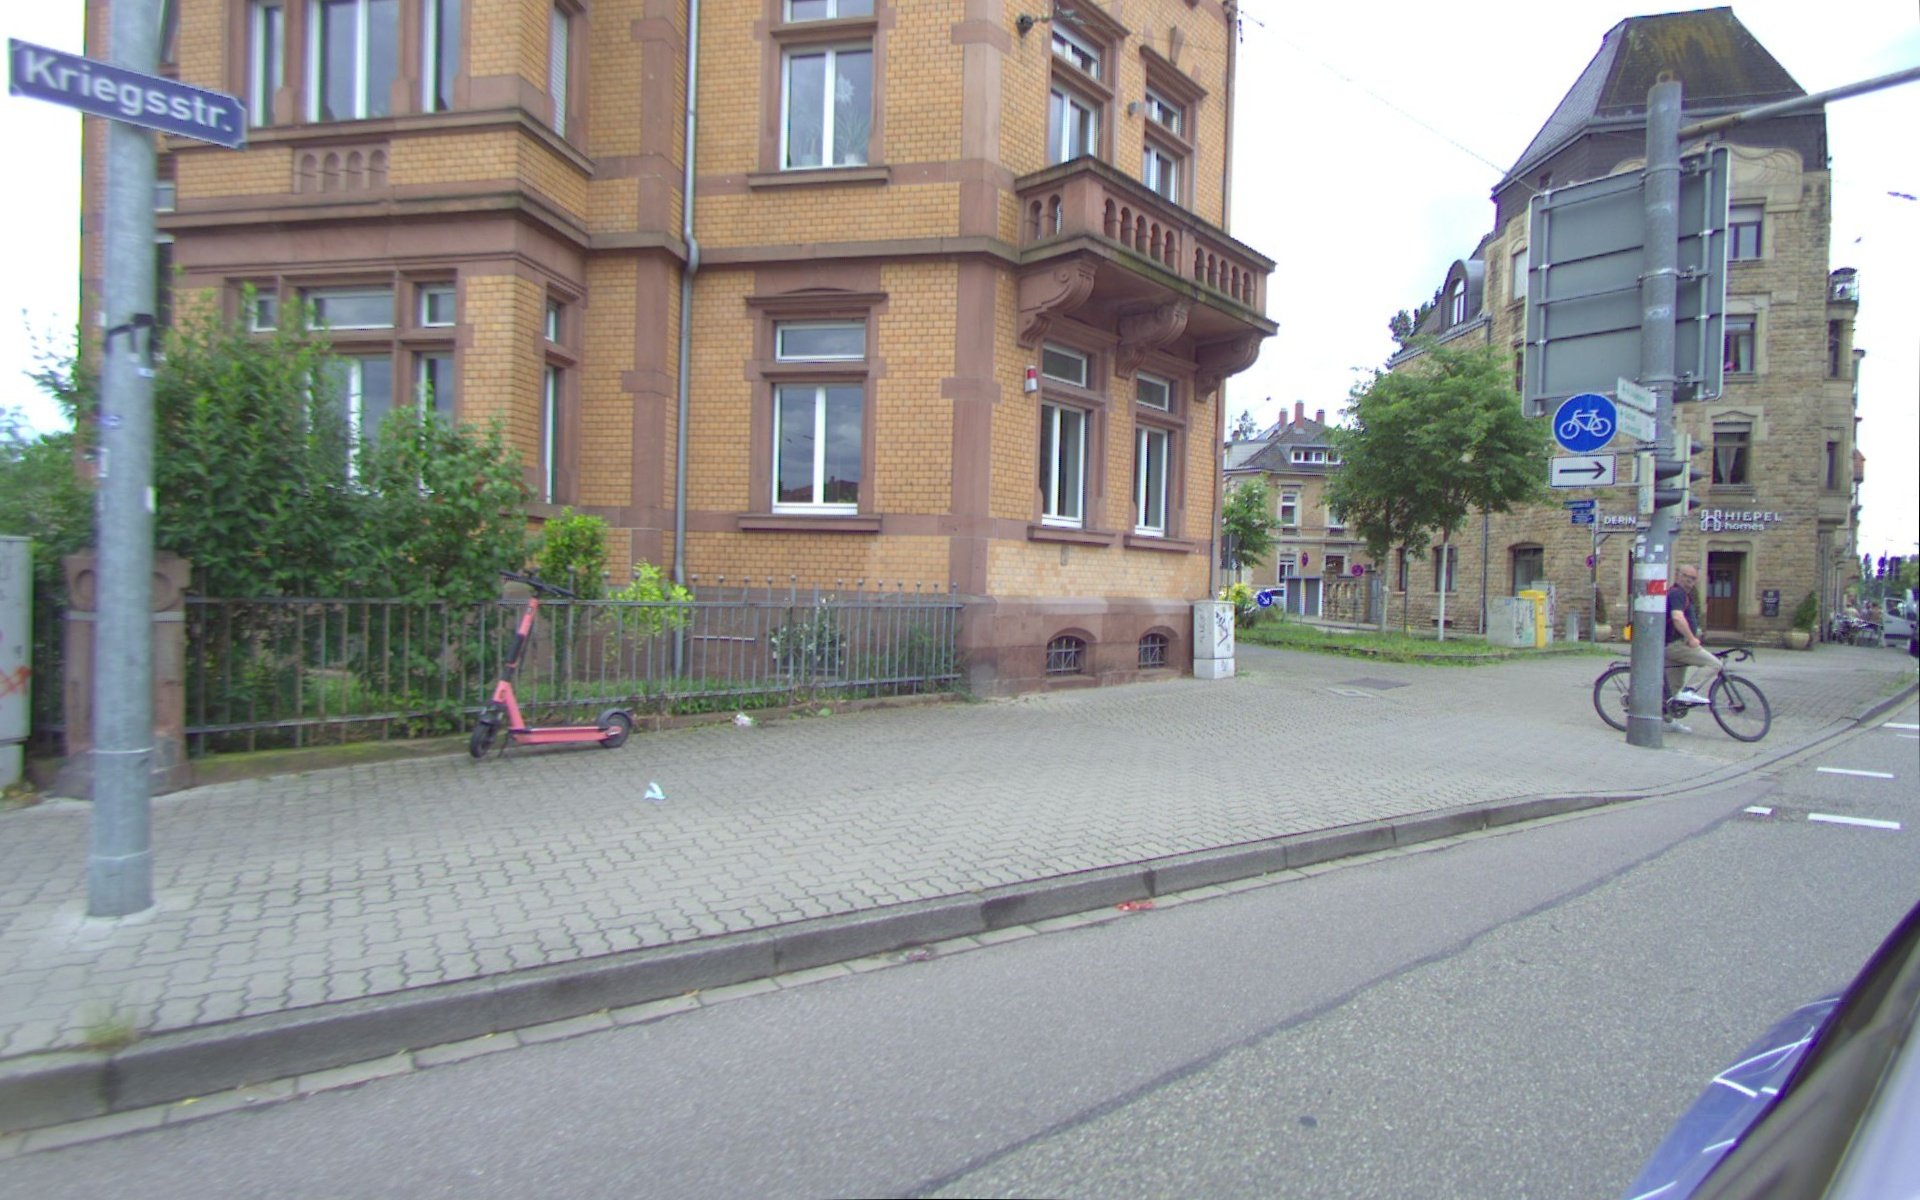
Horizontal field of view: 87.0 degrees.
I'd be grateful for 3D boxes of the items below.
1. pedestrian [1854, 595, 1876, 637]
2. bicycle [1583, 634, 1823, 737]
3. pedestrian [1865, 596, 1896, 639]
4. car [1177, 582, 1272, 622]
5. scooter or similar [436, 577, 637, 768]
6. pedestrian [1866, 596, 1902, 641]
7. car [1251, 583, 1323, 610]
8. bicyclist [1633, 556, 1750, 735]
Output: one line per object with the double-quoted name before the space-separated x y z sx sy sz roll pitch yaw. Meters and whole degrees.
"pedestrian" 37.717 0.658 42.184 0.506 1.738 0.574 4 2 33
"bicycle" 7.756 0.870 10.656 1.838 0.935 0.794 1 0 11
"pedestrian" 38.577 0.721 42.414 0.695 1.720 0.491 4 2 15
"car" 11.160 0.060 42.701 3.515 1.451 1.689 4 2 31
"scooter or similar" -2.791 0.440 6.751 0.375 1.155 1.182 2 1 39
"pedestrian" 37.323 0.735 40.902 0.858 1.720 0.532 4 2 29
"car" 20.936 -0.242 64.879 3.970 1.451 1.754 3 2 3
"bicyclist" 7.796 0.459 10.829 0.671 1.818 0.888 1 0 11
